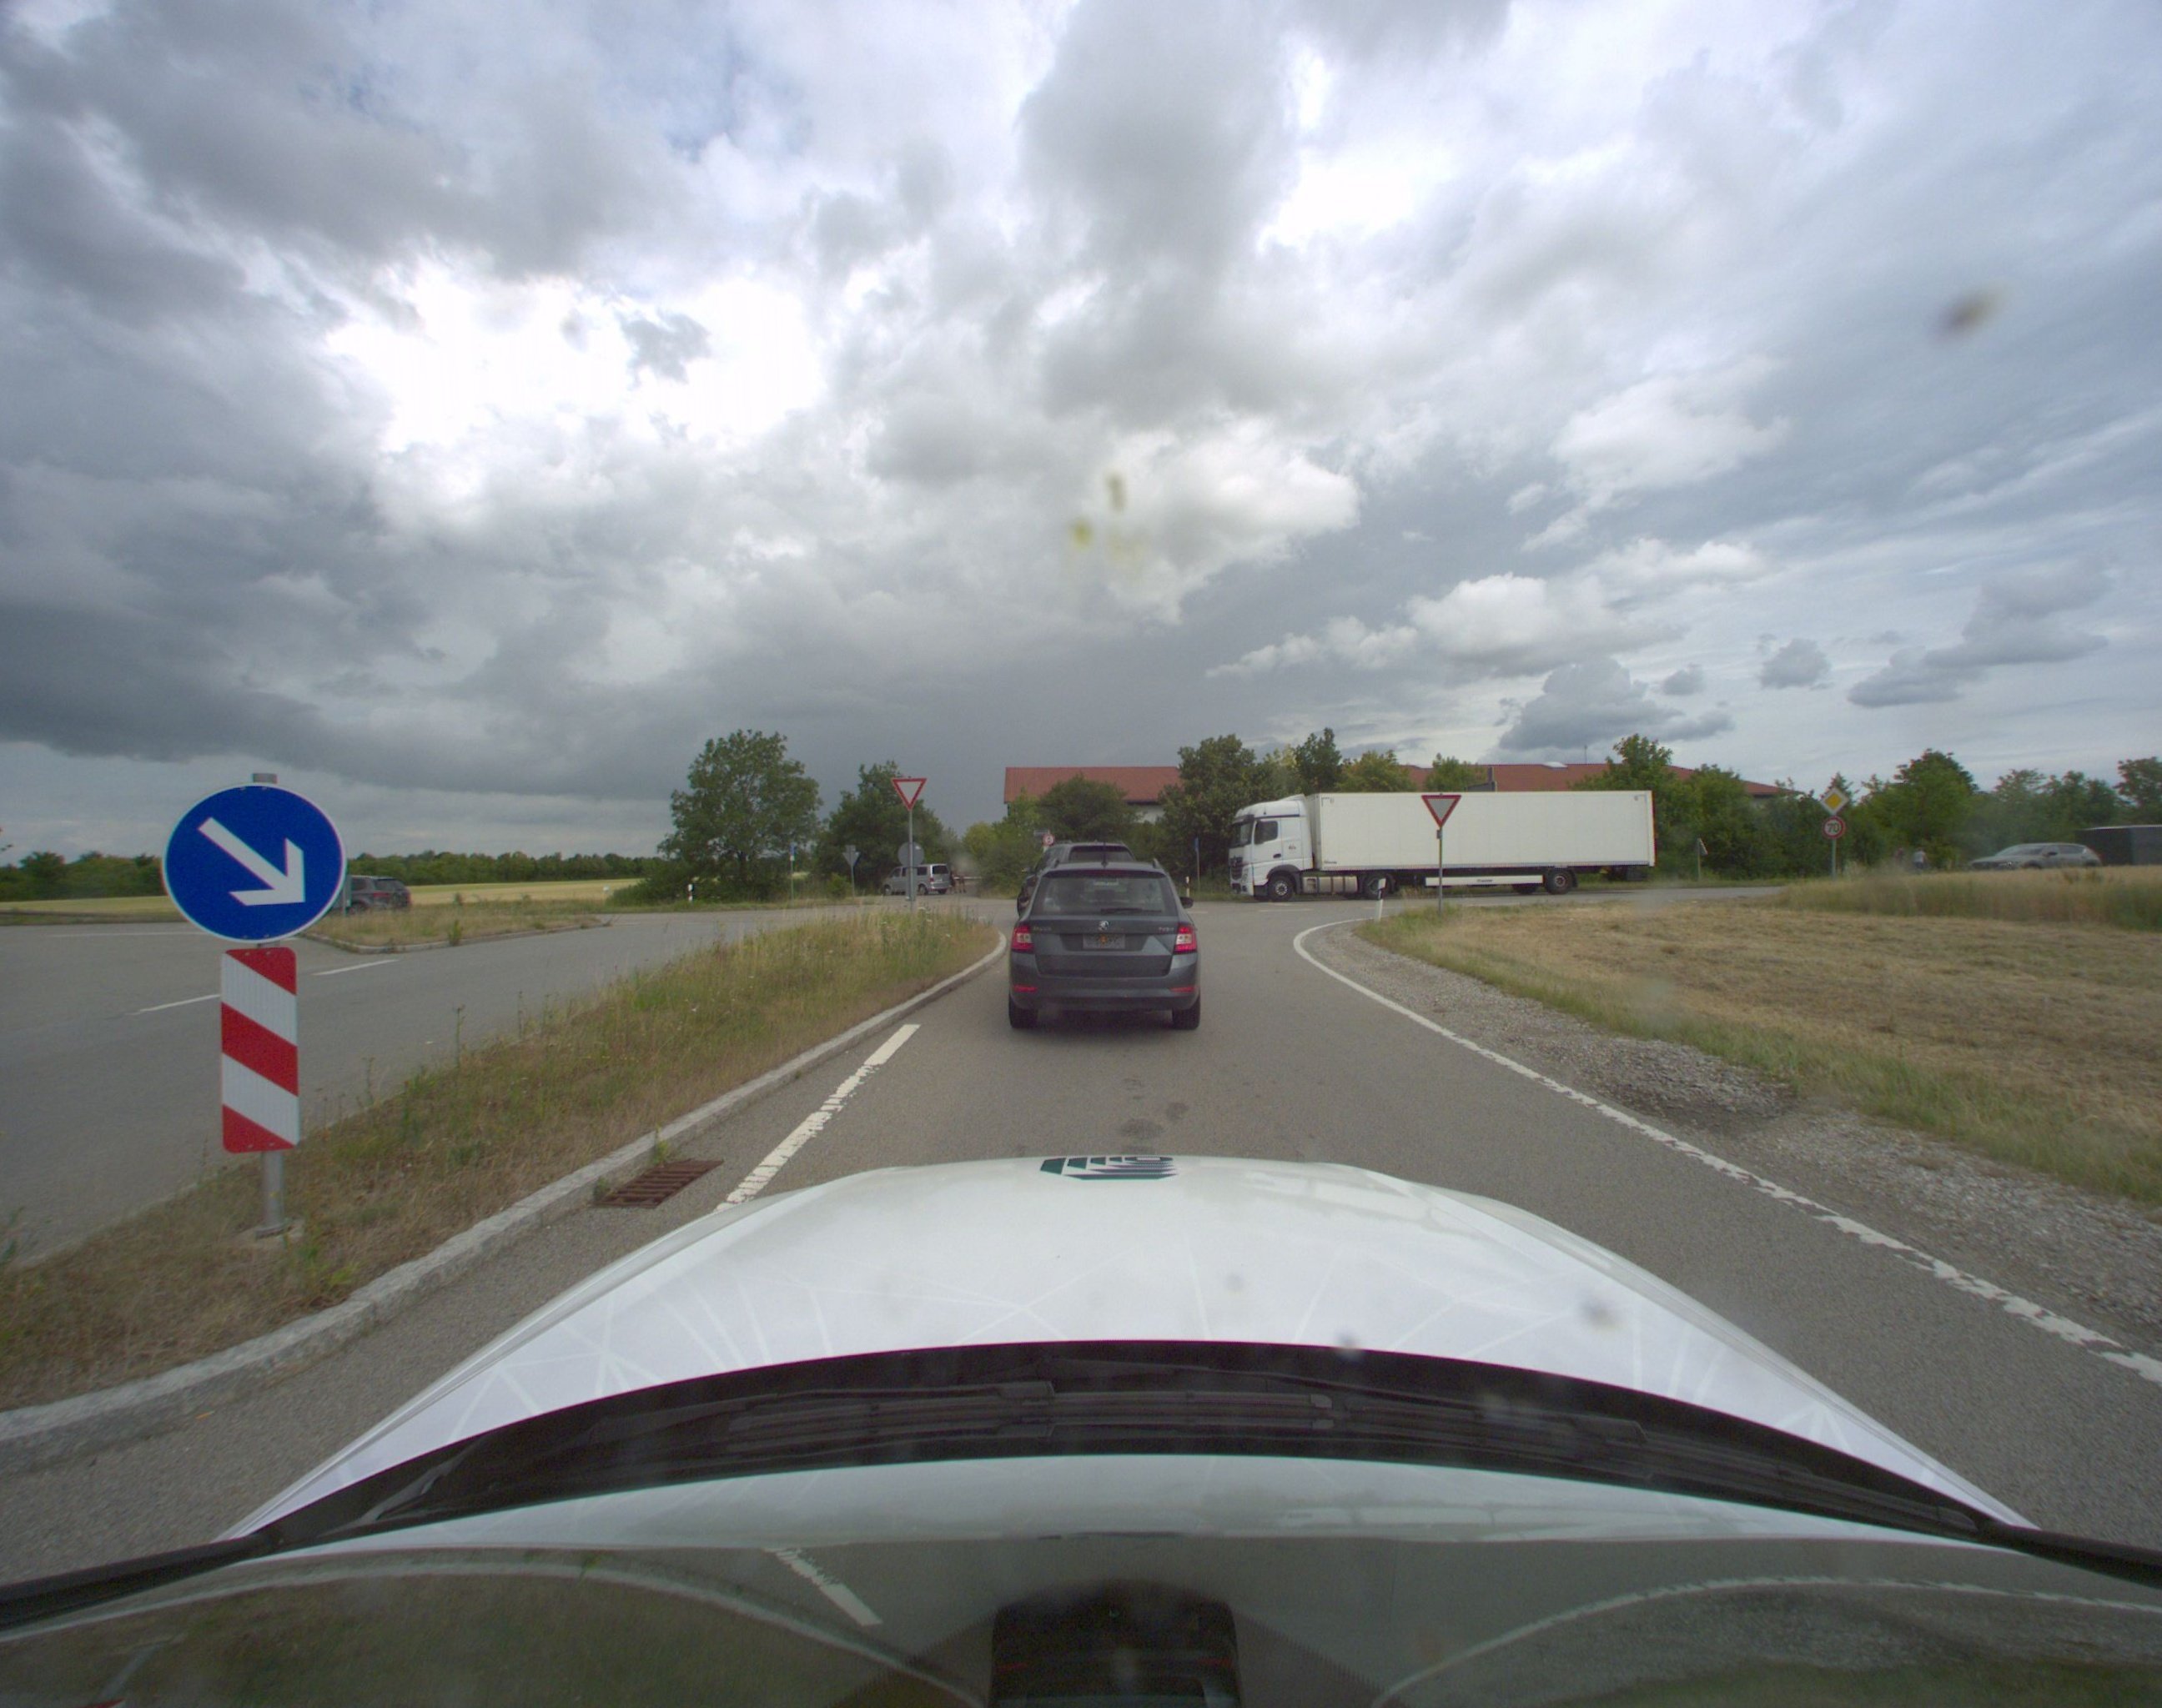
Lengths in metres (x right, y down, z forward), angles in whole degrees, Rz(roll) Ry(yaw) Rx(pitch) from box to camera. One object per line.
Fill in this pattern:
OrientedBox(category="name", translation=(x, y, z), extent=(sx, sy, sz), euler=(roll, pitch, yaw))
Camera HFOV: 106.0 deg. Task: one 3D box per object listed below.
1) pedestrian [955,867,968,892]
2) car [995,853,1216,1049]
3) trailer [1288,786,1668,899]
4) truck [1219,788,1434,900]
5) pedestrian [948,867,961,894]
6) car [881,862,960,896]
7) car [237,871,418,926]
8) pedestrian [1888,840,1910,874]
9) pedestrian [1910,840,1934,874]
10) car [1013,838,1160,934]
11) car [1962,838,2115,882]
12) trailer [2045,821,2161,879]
OrientedBox(category="pedestrian", translation=(-8.026, 1.695, 54.643), extent=(0.558, 1.682, 0.589), euler=(-2, 0, 35))
OrientedBox(category="car", translation=(0.179, 0.733, 8.039), extent=(1.671, 1.462, 3.707), euler=(0, 0, 0))
OrientedBox(category="trailer", translation=(15.495, -0.448, 32.233), extent=(13.820, 4.015, 3.122), euler=(-1, -2, -6))
OrientedBox(category="truck", translation=(9.364, -0.339, 31.619), extent=(7.272, 4.015, 3.122), euler=(-1, -2, -5))
OrientedBox(category="pedestrian", translation=(-8.265, 1.735, 53.155), extent=(0.523, 1.725, 0.646), euler=(-2, 0, 34))
OrientedBox(category="car", translation=(-10.572, 1.637, 53.527), extent=(4.851, 2.013, 2.357), euler=(-2, 0, 35))
OrientedBox(category="car", translation=(-25.968, 1.513, 28.193), extent=(4.201, 1.601, 1.998), euler=(-2, 0, -3))
OrientedBox(category="pedestrian", translation=(42.052, 0.146, 41.863), extent=(0.626, 1.682, 0.528), euler=(-2, 0, -9))
OrientedBox(category="pedestrian", translation=(42.245, 0.147, 40.915), extent=(0.626, 1.682, 0.528), euler=(-2, 0, -9))
OrientedBox(category="car", translation=(-0.055, 0.640, 17.683), extent=(1.997, 1.774, 4.618), euler=(-1, -1, -16))
OrientedBox(category="car", translation=(39.831, 0.259, 33.919), extent=(4.460, 1.682, 1.995), euler=(-2, -2, -8))
OrientedBox(category="trailer", translation=(44.256, -0.158, 34.446), extent=(4.377, 2.293, 2.411), euler=(-2, -2, -7))
